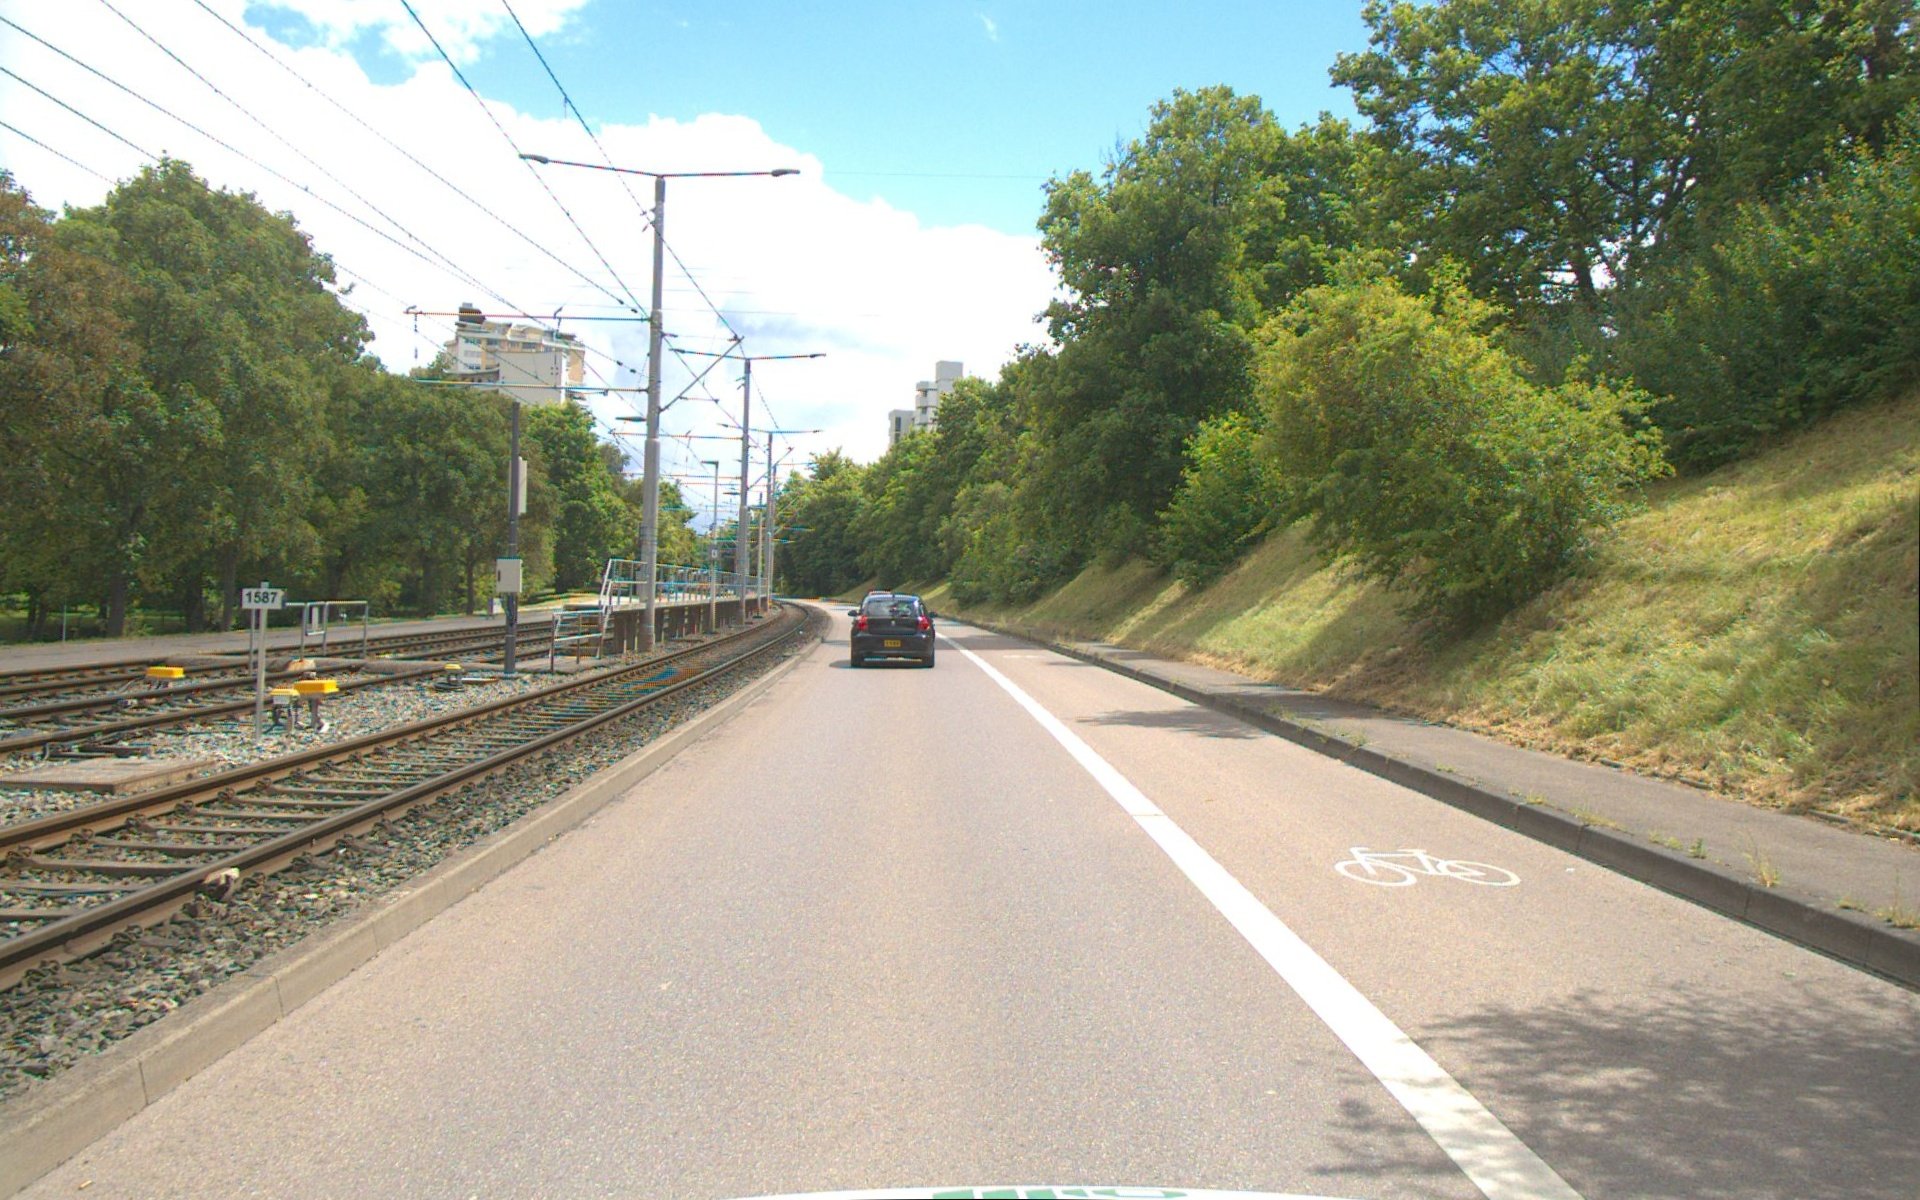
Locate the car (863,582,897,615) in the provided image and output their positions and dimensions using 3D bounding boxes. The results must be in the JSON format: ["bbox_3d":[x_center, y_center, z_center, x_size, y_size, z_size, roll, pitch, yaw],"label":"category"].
[{"bbox_3d":[-4.073,-0.088,84.800,1.591,1.468,3.422,2,3,-1],"label":"car"}]

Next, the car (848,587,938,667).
[{"bbox_3d":[-1.329,0.535,34.066,1.674,1.486,3.959,3,0,-1],"label":"car"}]
